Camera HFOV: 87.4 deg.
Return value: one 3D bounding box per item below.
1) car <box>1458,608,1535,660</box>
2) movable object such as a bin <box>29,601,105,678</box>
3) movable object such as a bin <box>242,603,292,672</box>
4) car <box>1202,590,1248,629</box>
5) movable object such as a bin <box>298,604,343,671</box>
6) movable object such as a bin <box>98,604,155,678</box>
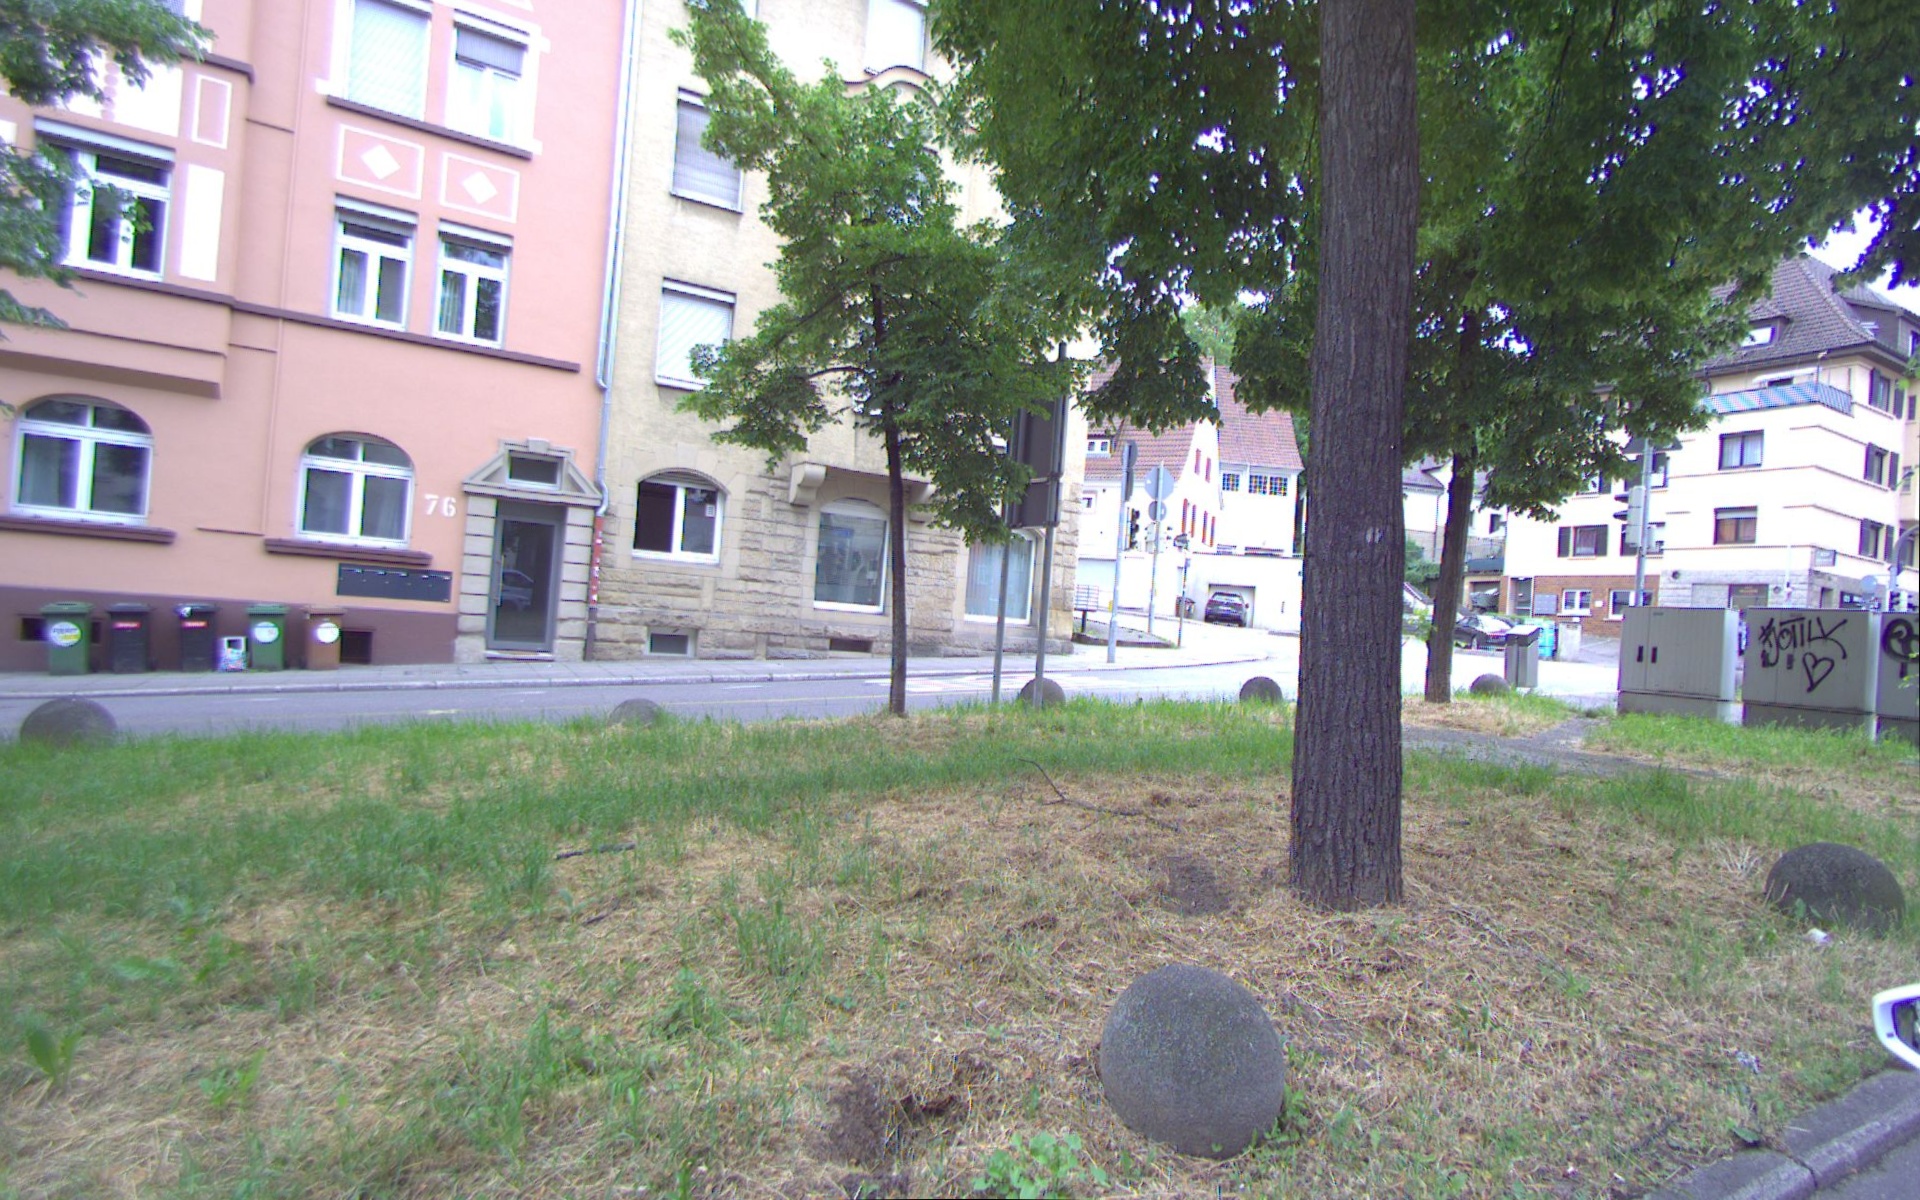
[{"bbox_3d":[21.891,1.335,41.131,1.832,1.619,3.519,2,6,13],"label":"car"},{"bbox_3d":[-11.665,0.512,13.142,0.611,0.961,0.613,2,0,-31],"label":"movable object such as a bin"},{"bbox_3d":[-9.813,0.521,14.244,0.554,0.934,0.649,2,0,-34],"label":"movable object such as a bin"},{"bbox_3d":[11.760,0.377,44.795,1.638,1.424,3.058,7,3,11],"label":"car"},{"bbox_3d":[-9.282,0.539,14.570,0.510,0.934,0.752,2,0,-34],"label":"movable object such as a bin"},{"bbox_3d":[-11.170,0.545,13.475,0.527,0.958,0.576,2,0,-36],"label":"movable object such as a bin"}]
